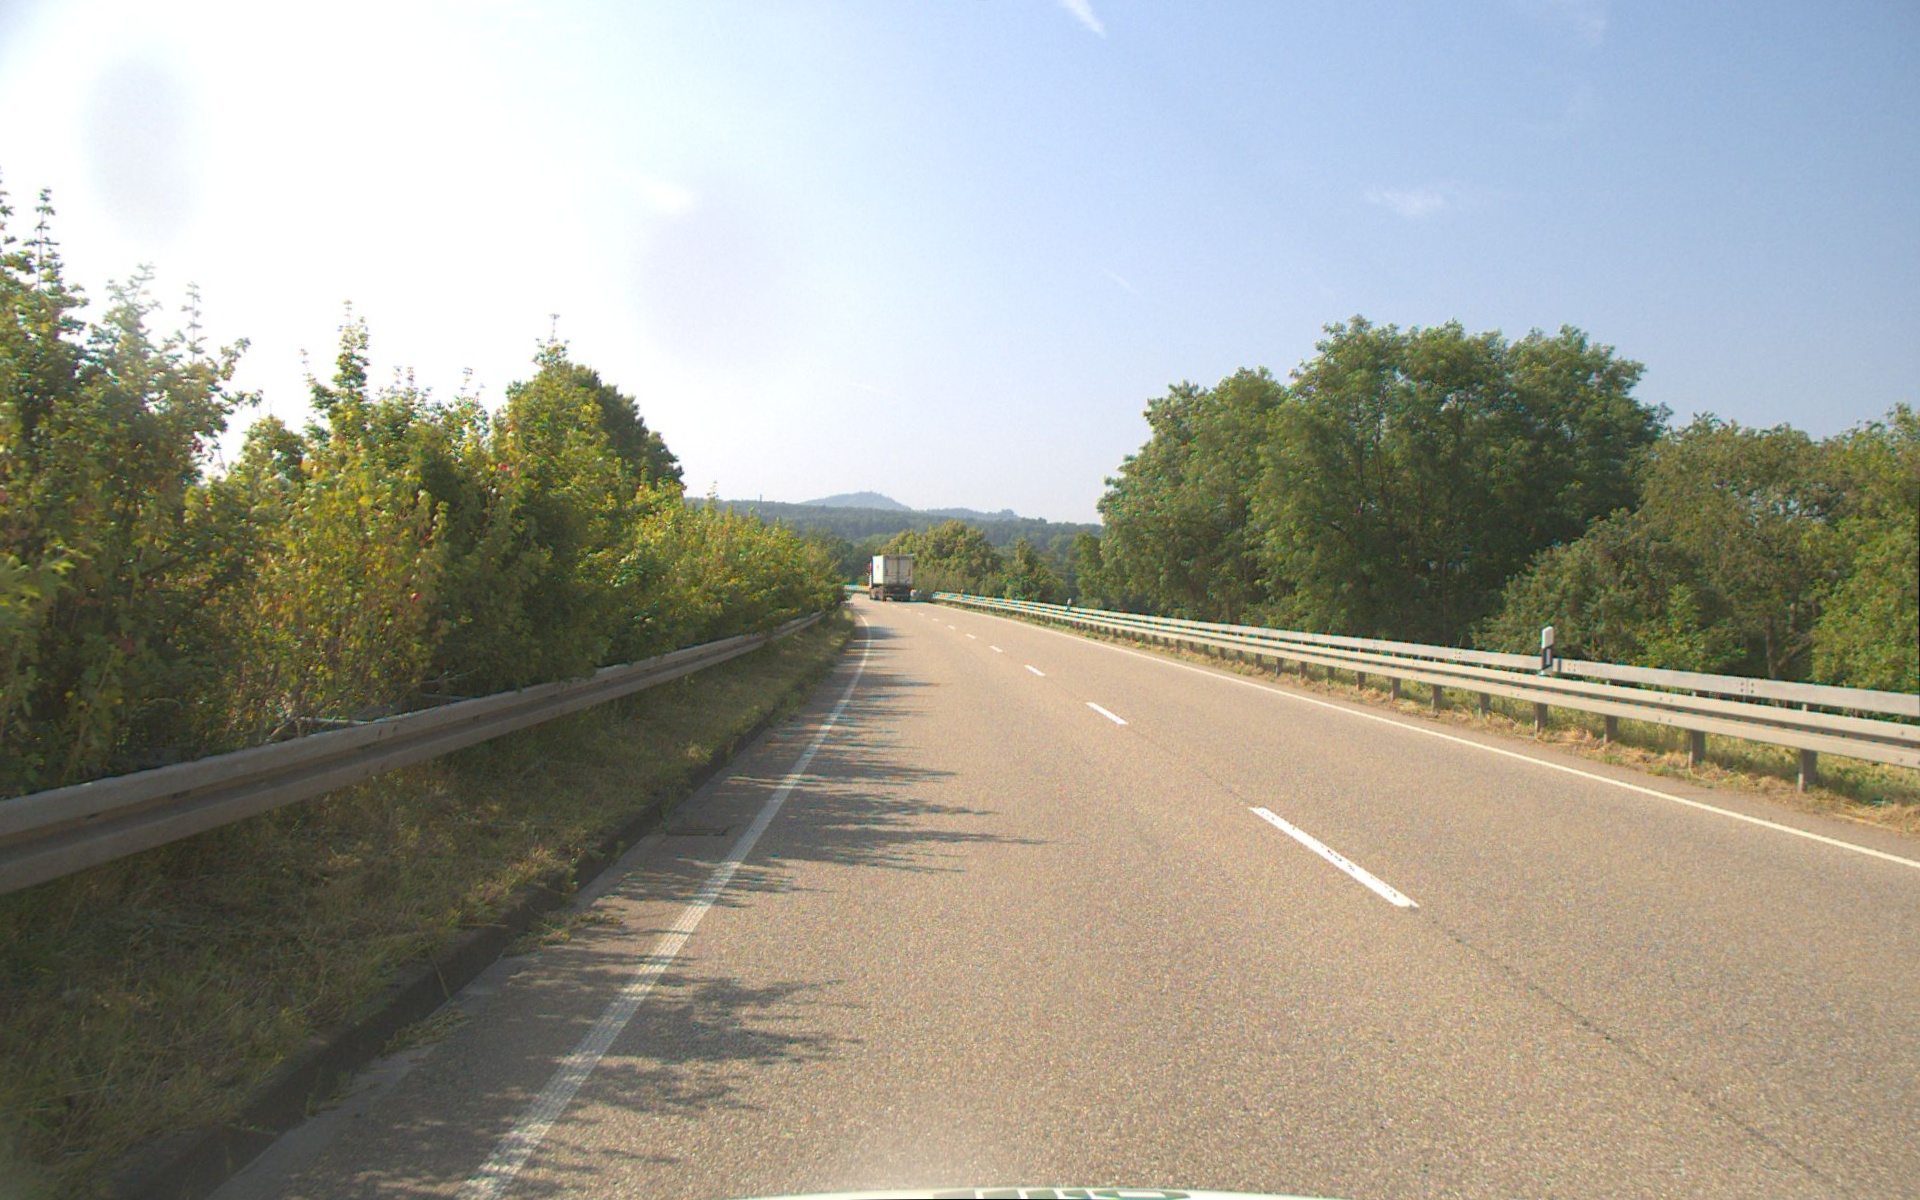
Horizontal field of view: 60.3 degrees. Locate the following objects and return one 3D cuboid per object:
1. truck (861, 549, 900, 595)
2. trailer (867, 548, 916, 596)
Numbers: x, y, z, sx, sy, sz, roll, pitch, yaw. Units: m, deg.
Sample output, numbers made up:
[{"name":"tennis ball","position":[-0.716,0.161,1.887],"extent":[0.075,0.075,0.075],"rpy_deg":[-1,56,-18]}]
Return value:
[{"name":"truck","position":[-7.145,-2.525,148.225],"extent":[2.612,3.964,5.632],"rpy_deg":[1,1,-12]},{"name":"trailer","position":[-5.937,-2.430,142.391],"extent":[2.632,3.975,9.644],"rpy_deg":[1,1,-12]}]
